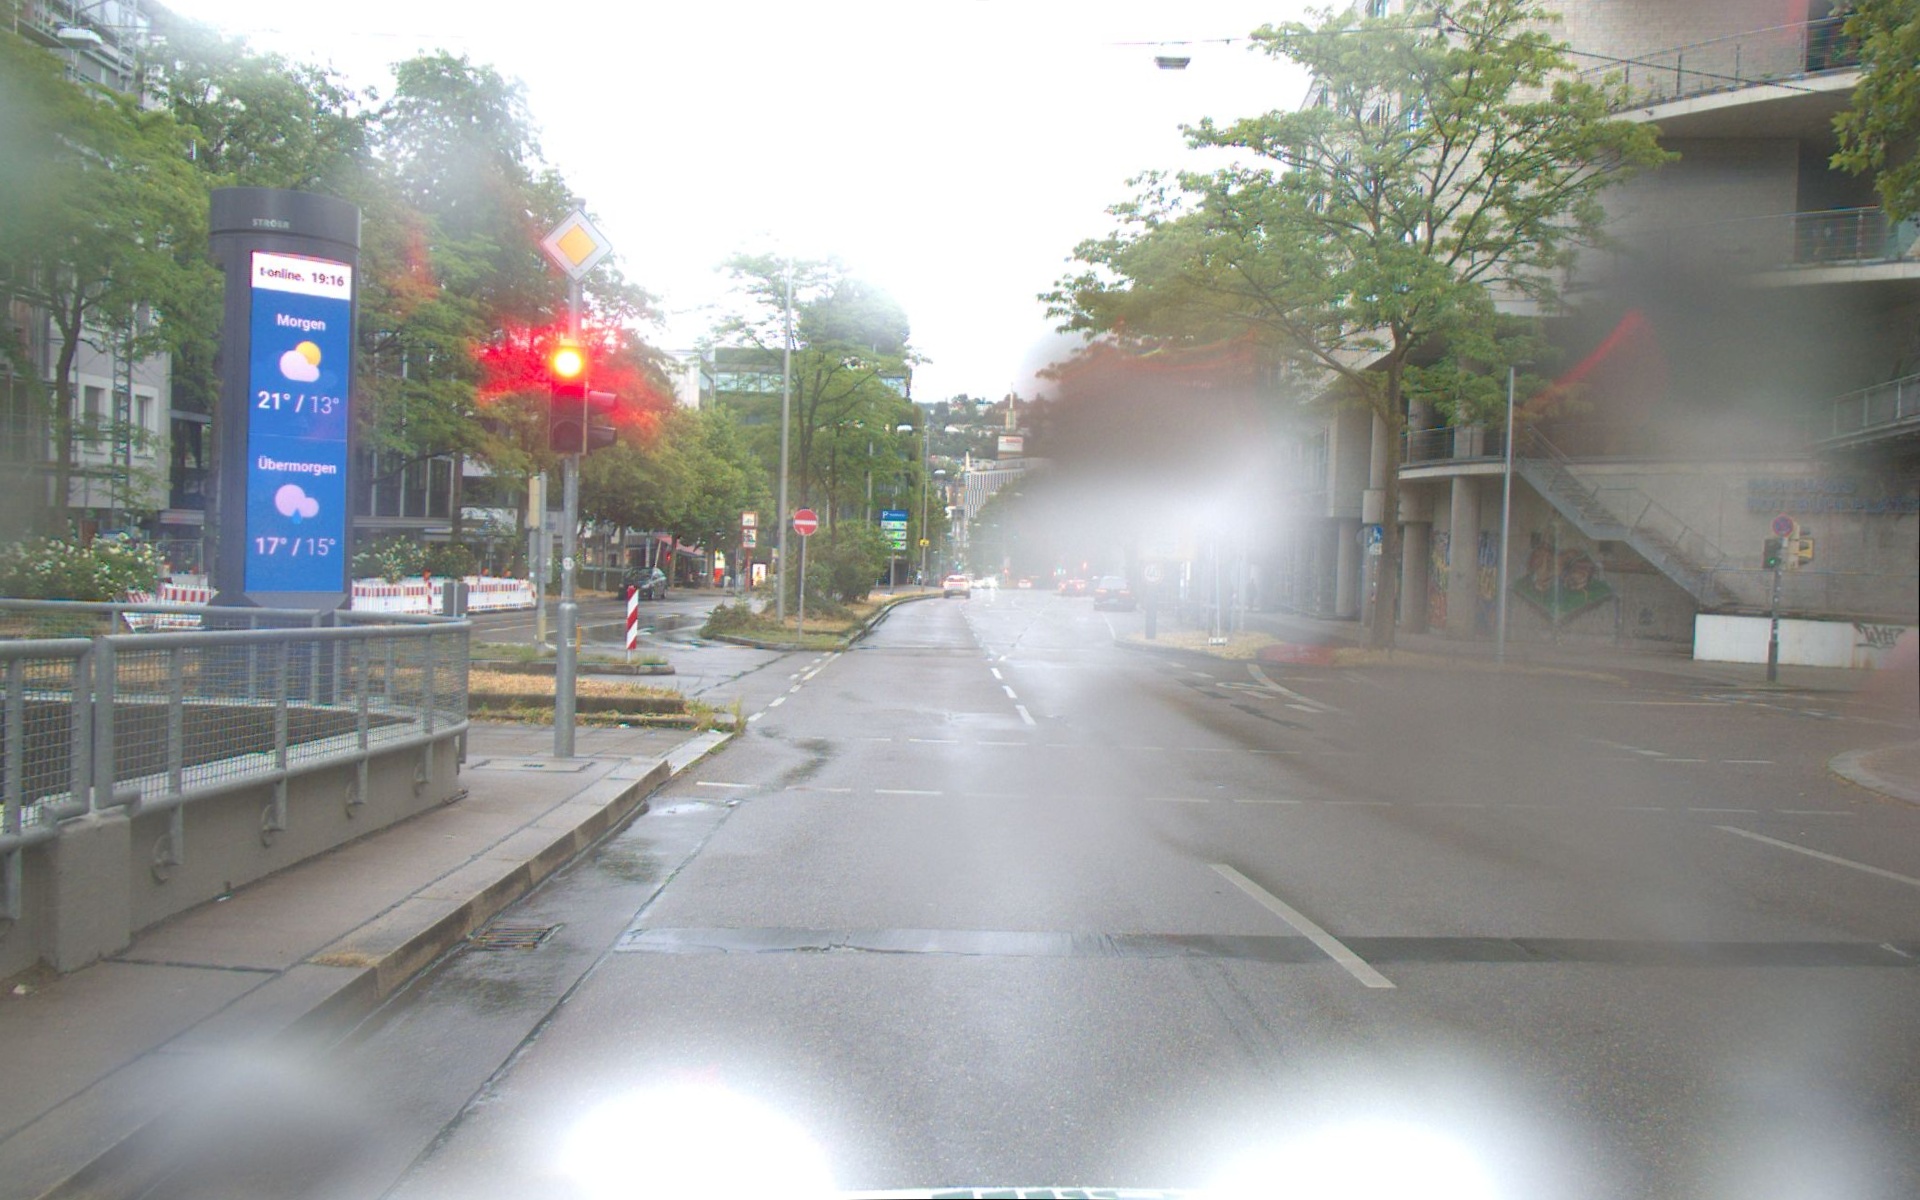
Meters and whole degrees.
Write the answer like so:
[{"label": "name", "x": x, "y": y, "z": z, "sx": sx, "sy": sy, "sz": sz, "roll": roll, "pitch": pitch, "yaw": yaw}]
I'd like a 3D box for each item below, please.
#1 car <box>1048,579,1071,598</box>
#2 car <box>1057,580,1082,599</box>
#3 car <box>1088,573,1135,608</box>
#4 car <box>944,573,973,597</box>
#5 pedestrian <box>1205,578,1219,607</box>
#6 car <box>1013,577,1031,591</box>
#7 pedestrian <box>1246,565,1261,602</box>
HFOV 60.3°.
[{"label": "car", "x": 10.027, "y": -1.146, "z": 166.975, "sx": 1.953, "sy": 1.766, "sz": 3.999, "roll": 1, "pitch": 0, "yaw": -1}, {"label": "car", "x": 10.319, "y": -0.989, "z": 155.761, "sx": 1.953, "sy": 1.754, "sz": 3.999, "roll": 1, "pitch": 0, "yaw": -2}, {"label": "car", "x": 7.670, "y": -0.495, "z": 83.552, "sx": 2.288, "sy": 1.720, "sz": 4.003, "roll": 1, "pitch": 1, "yaw": 6}, {"label": "car", "x": -0.072, "y": -1.085, "z": 120.112, "sx": 1.790, "sy": 1.668, "sz": 4.302, "roll": 2, "pitch": 0, "yaw": 3}, {"label": "pedestrian", "x": 16.645, "y": -0.495, "z": 109.214, "sx": 0.759, "sy": 1.954, "sz": 0.702, "roll": 1, "pitch": -1, "yaw": -2}, {"label": "car", "x": 8.686, "y": -2.257, "z": 232.420, "sx": 1.955, "sy": 1.789, "sz": 3.995, "roll": 2, "pitch": 0, "yaw": -6}, {"label": "pedestrian", "x": 15.633, "y": -0.858, "z": 88.165, "sx": 0.759, "sy": 1.954, "sz": 0.703, "roll": 1, "pitch": -1, "yaw": 9}]
